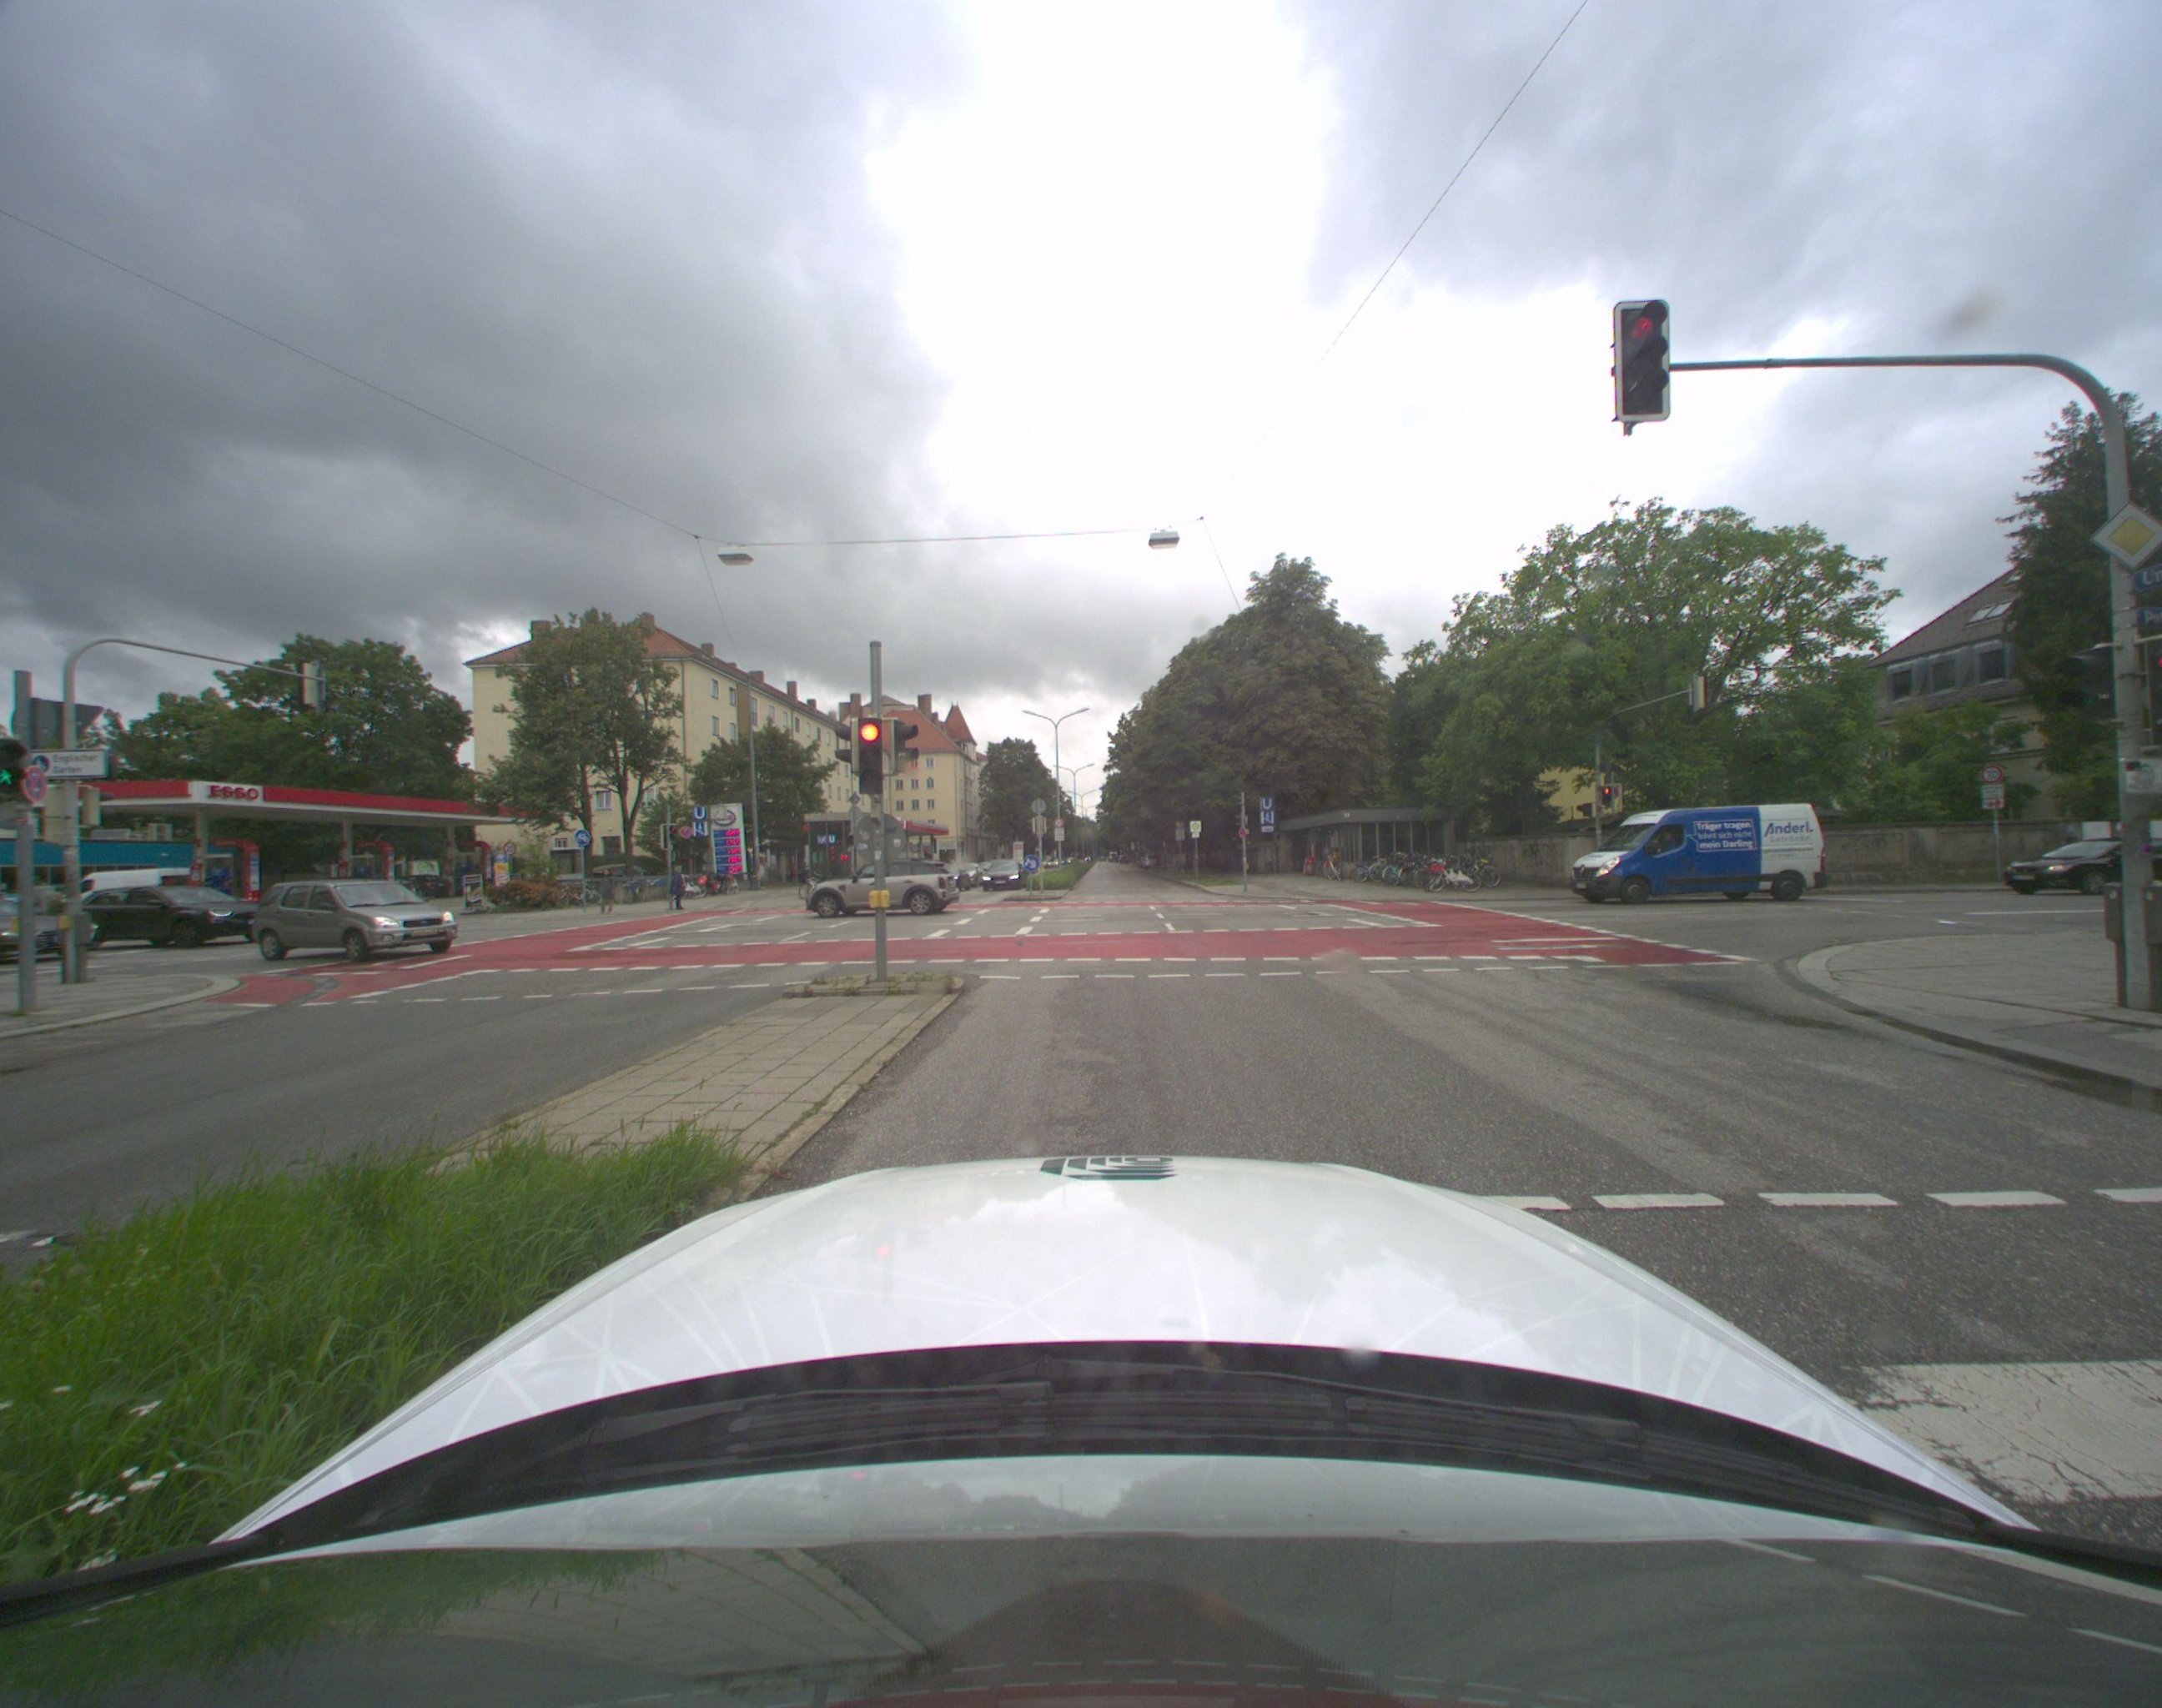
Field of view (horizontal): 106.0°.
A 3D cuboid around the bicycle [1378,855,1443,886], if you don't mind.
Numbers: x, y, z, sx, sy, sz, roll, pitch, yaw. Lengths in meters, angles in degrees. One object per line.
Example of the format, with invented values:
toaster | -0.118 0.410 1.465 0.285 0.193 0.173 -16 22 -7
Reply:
bicycle | 12.280 0.601 30.370 2.130 1.086 0.604 -2 0 9

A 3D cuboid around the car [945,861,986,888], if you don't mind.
car | -6.878 1.201 48.701 1.753 1.460 4.001 -2 0 1

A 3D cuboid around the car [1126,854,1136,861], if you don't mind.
car | 9.827 0.705 159.879 1.737 1.427 3.900 -2 0 1

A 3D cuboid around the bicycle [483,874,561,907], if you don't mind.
bicycle | -21.887 1.420 31.928 2.394 1.251 0.789 0 -1 -10

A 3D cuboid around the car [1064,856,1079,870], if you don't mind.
car | -0.987 0.913 85.651 1.463 1.399 3.701 -2 0 1

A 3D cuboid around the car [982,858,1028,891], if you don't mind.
car | -3.737 0.975 40.593 1.753 1.493 4.001 -2 0 1

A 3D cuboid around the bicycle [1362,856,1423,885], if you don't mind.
bicycle | 12.160 0.624 31.813 2.130 1.062 0.604 -2 0 9

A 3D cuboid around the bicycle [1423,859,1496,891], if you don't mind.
bicycle | 12.728 0.701 27.455 2.130 1.014 0.636 -2 0 9

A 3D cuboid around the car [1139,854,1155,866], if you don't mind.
car | 8.085 0.737 99.679 1.737 1.363 3.807 -2 0 1

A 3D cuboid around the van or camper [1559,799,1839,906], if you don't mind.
van or camper | 15.862 -0.029 21.200 5.525 2.469 2.070 -2 0 5

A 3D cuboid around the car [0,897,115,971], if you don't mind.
car | -23.825 1.722 17.440 4.299 1.412 1.665 -2 0 1

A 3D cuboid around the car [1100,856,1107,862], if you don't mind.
car | 6.198 1.432 225.180 1.850 1.684 4.001 -2 0 1

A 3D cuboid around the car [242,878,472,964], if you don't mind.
car | -14.316 1.294 16.153 3.592 1.517 1.671 -2 0 15

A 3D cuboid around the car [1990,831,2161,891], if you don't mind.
car | 26.020 0.152 20.632 3.818 1.397 1.699 -2 0 7

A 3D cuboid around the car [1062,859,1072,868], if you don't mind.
car | -2.874 1.975 168.080 1.945 1.823 4.002 -2 0 2

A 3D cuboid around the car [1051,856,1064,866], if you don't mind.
car | -3.778 1.124 130.530 1.753 1.460 4.001 -2 0 1

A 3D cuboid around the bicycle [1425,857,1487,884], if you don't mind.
bicycle | 14.930 0.644 32.443 2.130 1.014 0.636 -2 0 9

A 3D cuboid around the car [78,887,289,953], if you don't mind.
car | -22.381 1.623 20.389 3.532 1.412 1.666 -2 0 3

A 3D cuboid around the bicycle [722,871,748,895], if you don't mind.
bicycle | -17.411 1.435 41.013 0.607 1.145 1.962 -2 0 -5

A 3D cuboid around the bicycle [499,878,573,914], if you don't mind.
bicycle | -20.898 1.606 31.269 2.180 1.236 0.763 -2 0 -10

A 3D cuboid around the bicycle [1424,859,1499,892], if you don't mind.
bicycle | 12.511 0.716 26.835 2.130 1.014 0.604 -2 0 9

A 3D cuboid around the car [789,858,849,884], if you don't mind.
car | -20.055 1.265 62.447 3.976 1.838 1.879 -2 0 -2

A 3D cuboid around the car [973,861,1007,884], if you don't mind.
car | -6.391 1.261 57.528 1.753 1.460 4.001 -2 0 1

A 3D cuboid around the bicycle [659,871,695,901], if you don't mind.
bicycle | -17.866 1.403 36.045 0.607 1.236 2.183 -2 0 -5

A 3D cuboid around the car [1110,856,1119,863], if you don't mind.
car | 7.891 1.303 192.516 1.916 1.684 4.001 -2 0 1

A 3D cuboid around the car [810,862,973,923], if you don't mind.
car | -5.300 1.059 23.124 4.154 1.514 1.695 -2 0 0

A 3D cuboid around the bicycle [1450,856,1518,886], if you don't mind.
bicycle | 14.859 0.622 30.077 2.130 1.014 0.636 -2 0 9

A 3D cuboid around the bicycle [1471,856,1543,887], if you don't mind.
bicycle | 14.890 0.609 28.514 2.130 1.014 0.636 -2 0 9

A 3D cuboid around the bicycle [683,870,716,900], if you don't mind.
bicycle | -17.254 1.390 36.853 0.607 1.236 2.183 -2 0 -5

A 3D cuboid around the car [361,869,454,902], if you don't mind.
car | -40.310 1.871 48.788 3.973 1.784 1.858 -2 0 1

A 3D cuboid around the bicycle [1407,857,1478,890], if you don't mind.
bicycle | 12.529 0.685 28.265 2.130 1.071 0.604 -2 0 9

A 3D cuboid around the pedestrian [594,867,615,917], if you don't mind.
pedestrian | -16.693 1.311 28.522 0.593 1.695 0.571 -1 0 -29

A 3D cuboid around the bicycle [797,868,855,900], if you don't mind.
bicycle | -11.027 1.286 35.254 2.262 1.304 0.704 -2 0 2

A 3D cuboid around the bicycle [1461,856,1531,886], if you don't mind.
bicycle | 14.917 0.617 29.281 2.130 1.014 0.636 -2 0 9

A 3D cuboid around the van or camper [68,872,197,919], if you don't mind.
van or camper | -51.991 2.239 44.717 4.526 2.323 1.917 -2 0 -3

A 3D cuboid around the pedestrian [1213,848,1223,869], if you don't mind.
pedestrian | 11.207 0.391 66.604 0.674 1.682 0.684 -2 0 7

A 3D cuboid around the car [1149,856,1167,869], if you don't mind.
car | 8.444 0.941 89.732 1.737 1.363 3.807 -2 0 1

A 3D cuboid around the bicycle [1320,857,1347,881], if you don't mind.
bicycle | 11.127 0.650 35.950 0.555 1.014 2.015 -2 0 0

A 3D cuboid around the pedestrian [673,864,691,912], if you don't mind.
pedestrian | -14.557 1.231 29.719 0.536 1.695 0.572 -2 0 -24

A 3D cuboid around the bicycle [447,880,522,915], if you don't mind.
bicycle | -22.833 1.650 31.217 2.179 1.236 0.764 -2 0 -8

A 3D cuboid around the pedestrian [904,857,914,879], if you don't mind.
pedestrian | -16.156 1.318 76.512 0.727 2.014 0.835 0 -1 1

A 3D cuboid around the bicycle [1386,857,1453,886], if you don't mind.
bicycle | 12.300 0.633 29.640 2.130 1.014 0.604 -2 0 9

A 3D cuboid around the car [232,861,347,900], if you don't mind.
car | -40.105 1.311 41.338 3.973 1.784 1.858 -2 0 1

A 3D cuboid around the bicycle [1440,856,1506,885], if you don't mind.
bicycle | 14.827 0.627 30.863 2.130 1.014 0.636 -2 0 9

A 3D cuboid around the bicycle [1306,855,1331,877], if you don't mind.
bicycle | 11.256 0.562 38.683 0.555 1.014 2.015 -2 0 0

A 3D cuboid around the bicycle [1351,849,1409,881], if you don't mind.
bicycle | 12.264 0.455 33.408 2.130 1.218 0.604 -2 0 9

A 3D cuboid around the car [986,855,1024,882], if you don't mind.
car | -4.485 0.818 48.372 1.753 1.493 4.001 -2 0 1

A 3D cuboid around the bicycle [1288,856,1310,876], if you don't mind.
bicycle | 11.250 0.597 42.024 0.555 1.014 2.015 -2 0 0

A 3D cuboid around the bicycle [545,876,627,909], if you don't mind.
bicycle | -19.592 1.507 32.326 2.720 1.251 0.786 0 -1 -29

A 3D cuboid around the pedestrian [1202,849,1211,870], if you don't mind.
pedestrian | 10.237 0.426 66.610 0.674 1.682 0.684 -2 0 7

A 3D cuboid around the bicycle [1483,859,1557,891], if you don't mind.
bicycle | 14.921 0.702 27.715 2.130 1.014 0.636 -2 0 9

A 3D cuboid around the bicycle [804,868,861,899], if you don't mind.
bicycle | -10.980 1.300 36.033 2.276 1.304 0.694 -2 0 2

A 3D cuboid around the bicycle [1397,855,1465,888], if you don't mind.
bicycle | 12.408 0.621 28.923 2.130 1.101 0.604 -2 0 9

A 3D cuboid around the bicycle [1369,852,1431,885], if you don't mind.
bicycle | 12.168 0.560 31.111 2.130 1.178 0.604 -2 0 9

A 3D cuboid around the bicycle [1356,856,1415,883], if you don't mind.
bicycle | 12.213 0.613 32.693 2.130 1.014 0.604 -2 0 9

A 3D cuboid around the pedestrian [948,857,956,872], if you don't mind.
pedestrian | -13.708 1.109 86.715 0.693 1.638 0.738 -2 0 1
